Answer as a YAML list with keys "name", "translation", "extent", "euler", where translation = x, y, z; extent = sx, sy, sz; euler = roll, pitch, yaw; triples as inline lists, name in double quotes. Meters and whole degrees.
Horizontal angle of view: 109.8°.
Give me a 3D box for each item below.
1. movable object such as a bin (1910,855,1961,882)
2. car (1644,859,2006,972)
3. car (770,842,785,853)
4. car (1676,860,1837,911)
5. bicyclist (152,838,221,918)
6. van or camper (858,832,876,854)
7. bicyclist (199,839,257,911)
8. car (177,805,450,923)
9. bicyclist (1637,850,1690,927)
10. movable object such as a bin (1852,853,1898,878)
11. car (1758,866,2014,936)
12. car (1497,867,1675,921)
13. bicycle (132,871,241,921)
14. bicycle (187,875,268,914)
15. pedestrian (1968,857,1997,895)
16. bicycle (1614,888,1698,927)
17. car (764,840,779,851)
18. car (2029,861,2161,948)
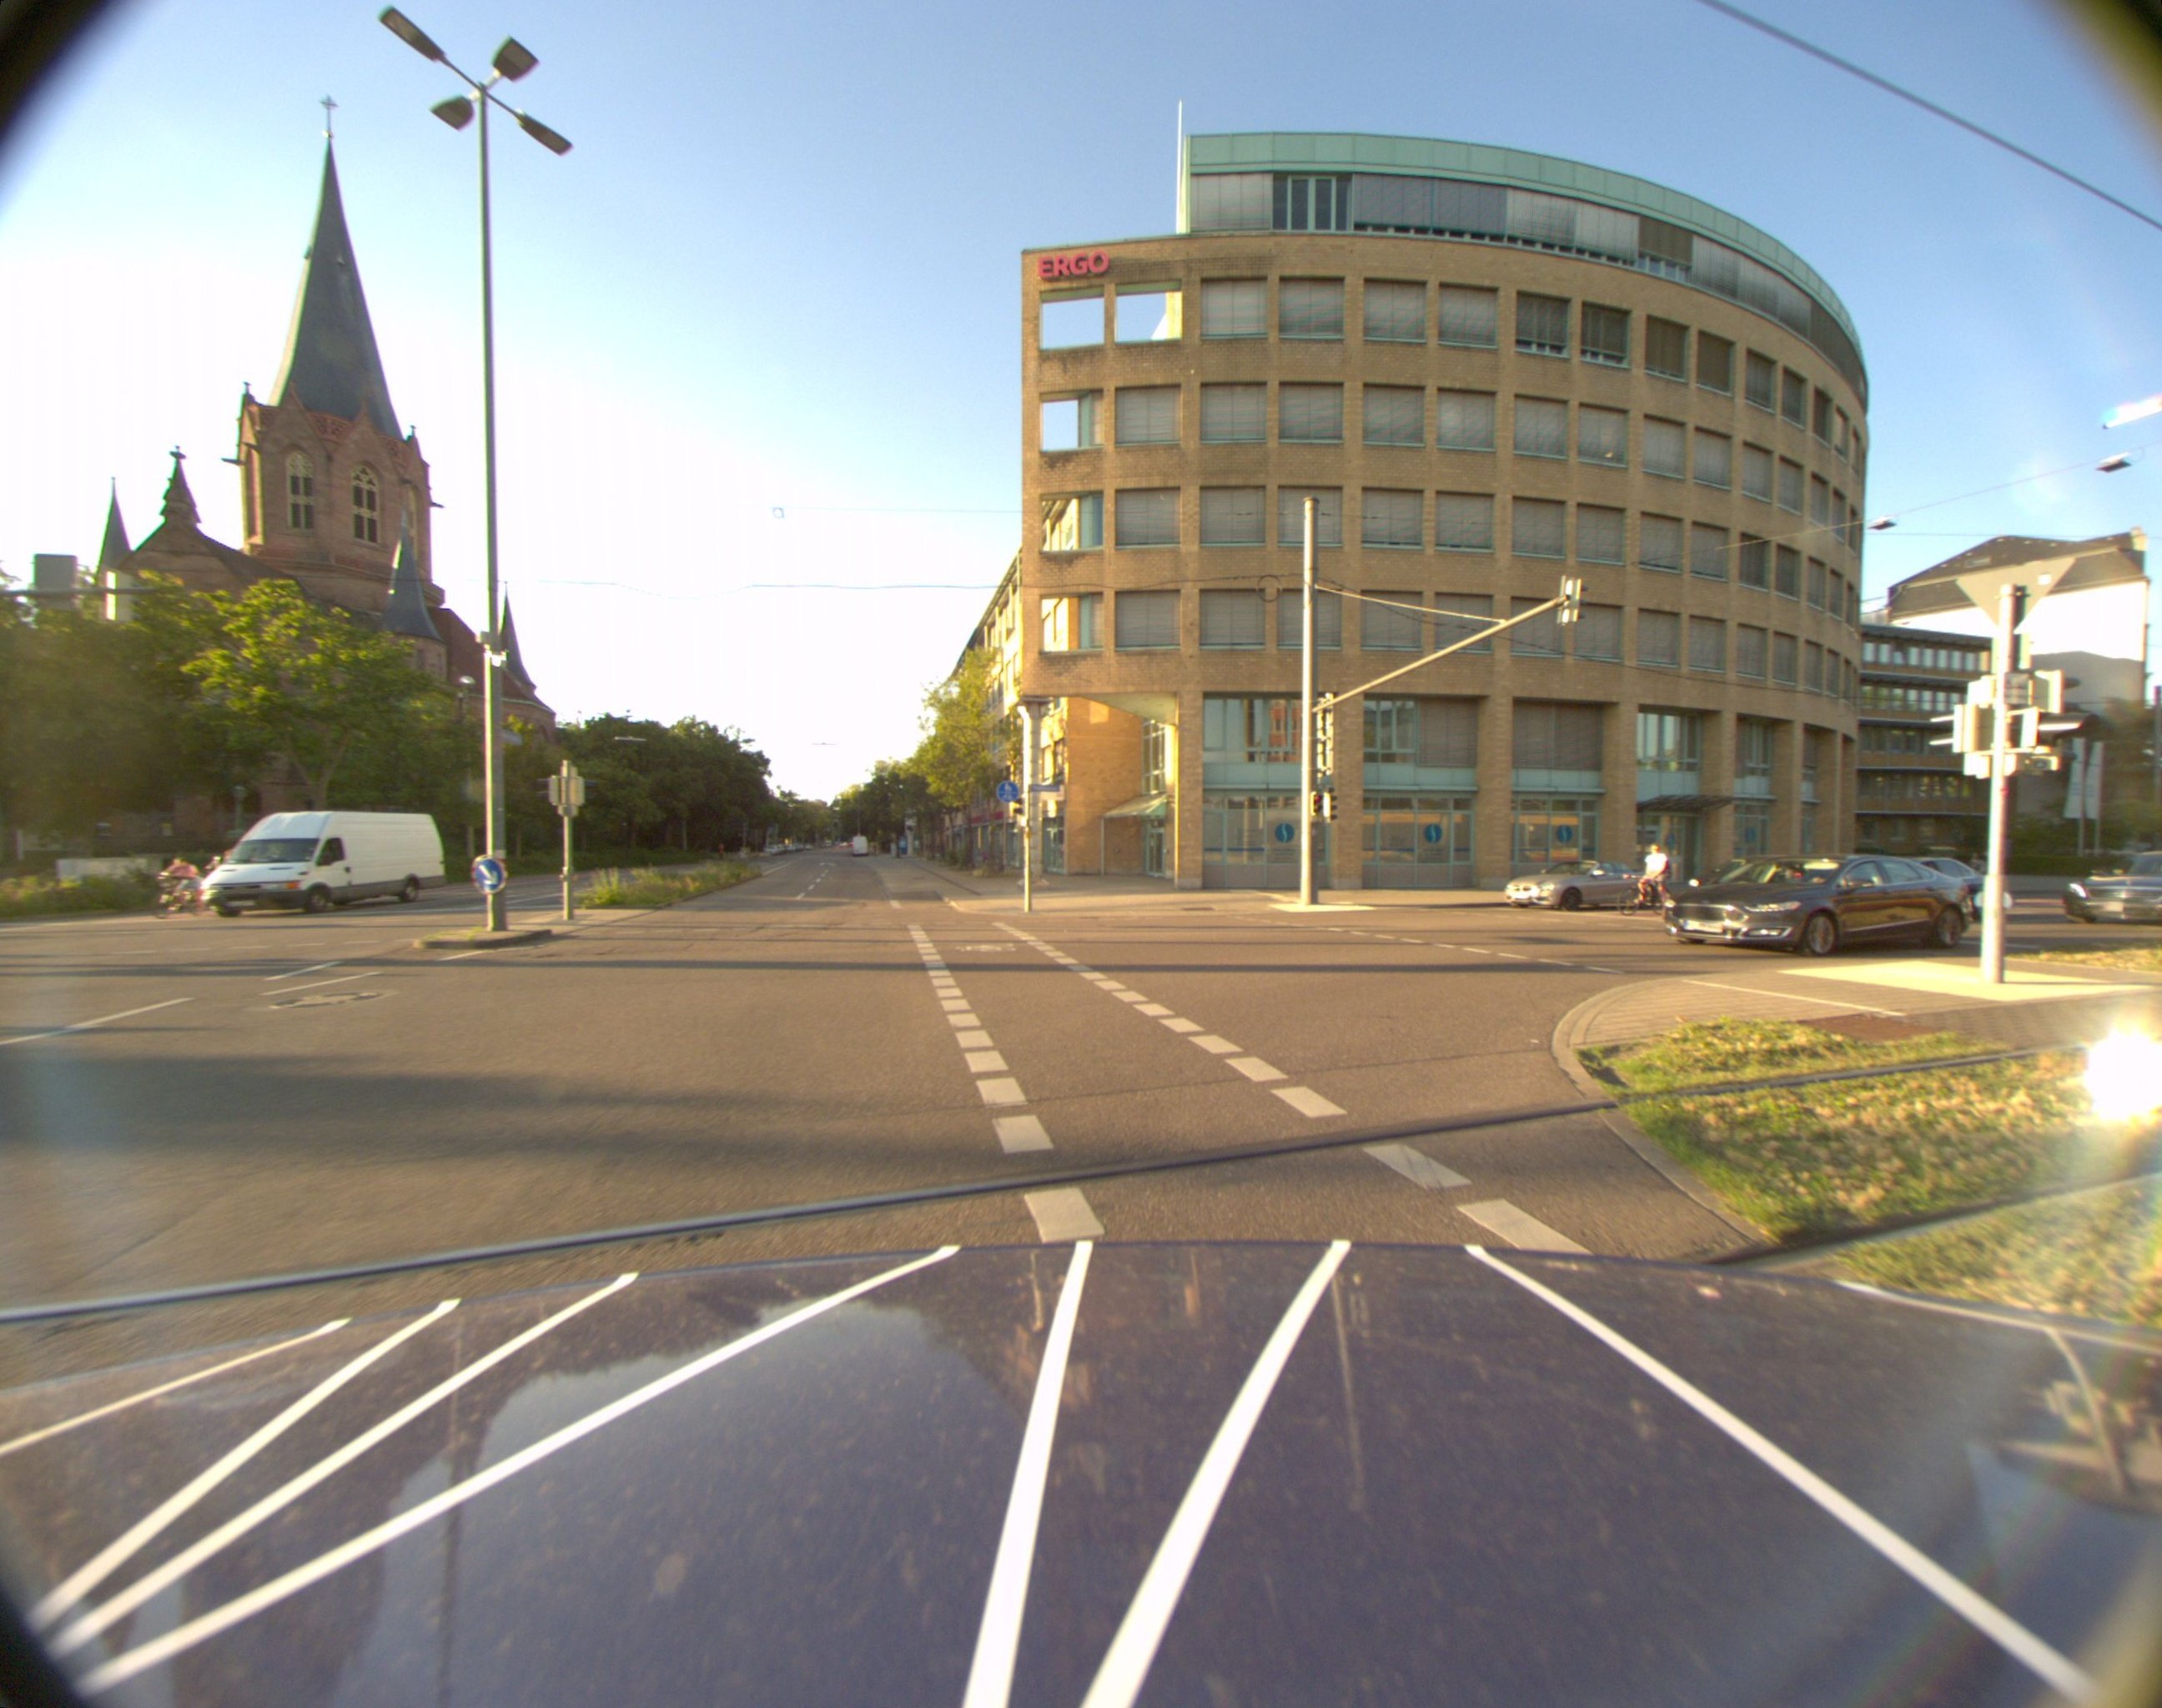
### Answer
- name: "movable object such as a bin"
  translation: [47.300, 0.774, 42.067]
  extent: [1.334, 1.451, 1.425]
  euler: [0, 1, -20]
- name: "car"
  translation: [11.465, 0.850, 11.769]
  extent: [4.728, 1.477, 1.889]
  euler: [0, 1, -16]
- name: "car"
  translation: [-45.414, -0.978, 113.533]
  extent: [2.002, 1.648, 3.991]
  euler: [0, 1, -24]
- name: "car"
  translation: [20.044, 0.900, 22.577]
  extent: [4.003, 1.379, 1.757]
  euler: [0, 1, -18]
- name: "bicyclist"
  translation: [-23.127, 0.601, 19.663]
  extent: [0.722, 2.002, 0.901]
  euler: [0, 1, -11]
- name: "van or camper"
  translation: [-28.308, -1.483, 100.713]
  extent: [2.156, 2.827, 4.397]
  euler: [0, 1, -14]
- name: "bicyclist"
  translation: [-24.202, 0.575, 21.576]
  extent: [0.667, 2.002, 0.874]
  euler: [0, 1, -12]
- name: "car"
  translation: [-21.284, 0.161, 21.724]
  extent: [2.094, 2.812, 7.024]
  euler: [-1, 1, -14]
- name: "bicyclist"
  translation: [14.039, 0.816, 18.326]
  extent: [0.778, 1.810, 0.634]
  euler: [0, 1, -18]
- name: "movable object such as a bin"
  translation: [47.011, 0.670, 45.011]
  extent: [1.334, 1.451, 1.425]
  euler: [0, 1, -19]
- name: "car"
  translation: [17.978, 0.982, 17.017]
  extent: [4.743, 1.377, 1.997]
  euler: [0, 0, -16]
- name: "car"
  translation: [13.948, 1.060, 21.029]
  extent: [4.230, 1.377, 1.747]
  euler: [0, 0, -16]
- name: "bicycle"
  translation: [-23.140, 1.059, 19.721]
  extent: [0.734, 1.169, 1.971]
  euler: [0, 1, -11]
- name: "bicycle"
  translation: [-24.209, 1.127, 21.590]
  extent: [0.674, 0.976, 1.618]
  euler: [0, 1, -12]
- name: "pedestrian"
  translation: [40.877, 0.985, 34.448]
  extent: [0.714, 1.671, 0.627]
  euler: [0, 0, -20]
- name: "bicycle"
  translation: [13.837, 1.267, 18.274]
  extent: [1.871, 0.868, 0.634]
  euler: [0, 1, -18]
- name: "car"
  translation: [-44.355, -1.227, 108.845]
  extent: [1.909, 1.608, 3.992]
  euler: [0, 1, -21]
- name: "car"
  translation: [21.701, 0.941, 15.086]
  extent: [4.708, 1.527, 1.895]
  euler: [0, 1, -16]
